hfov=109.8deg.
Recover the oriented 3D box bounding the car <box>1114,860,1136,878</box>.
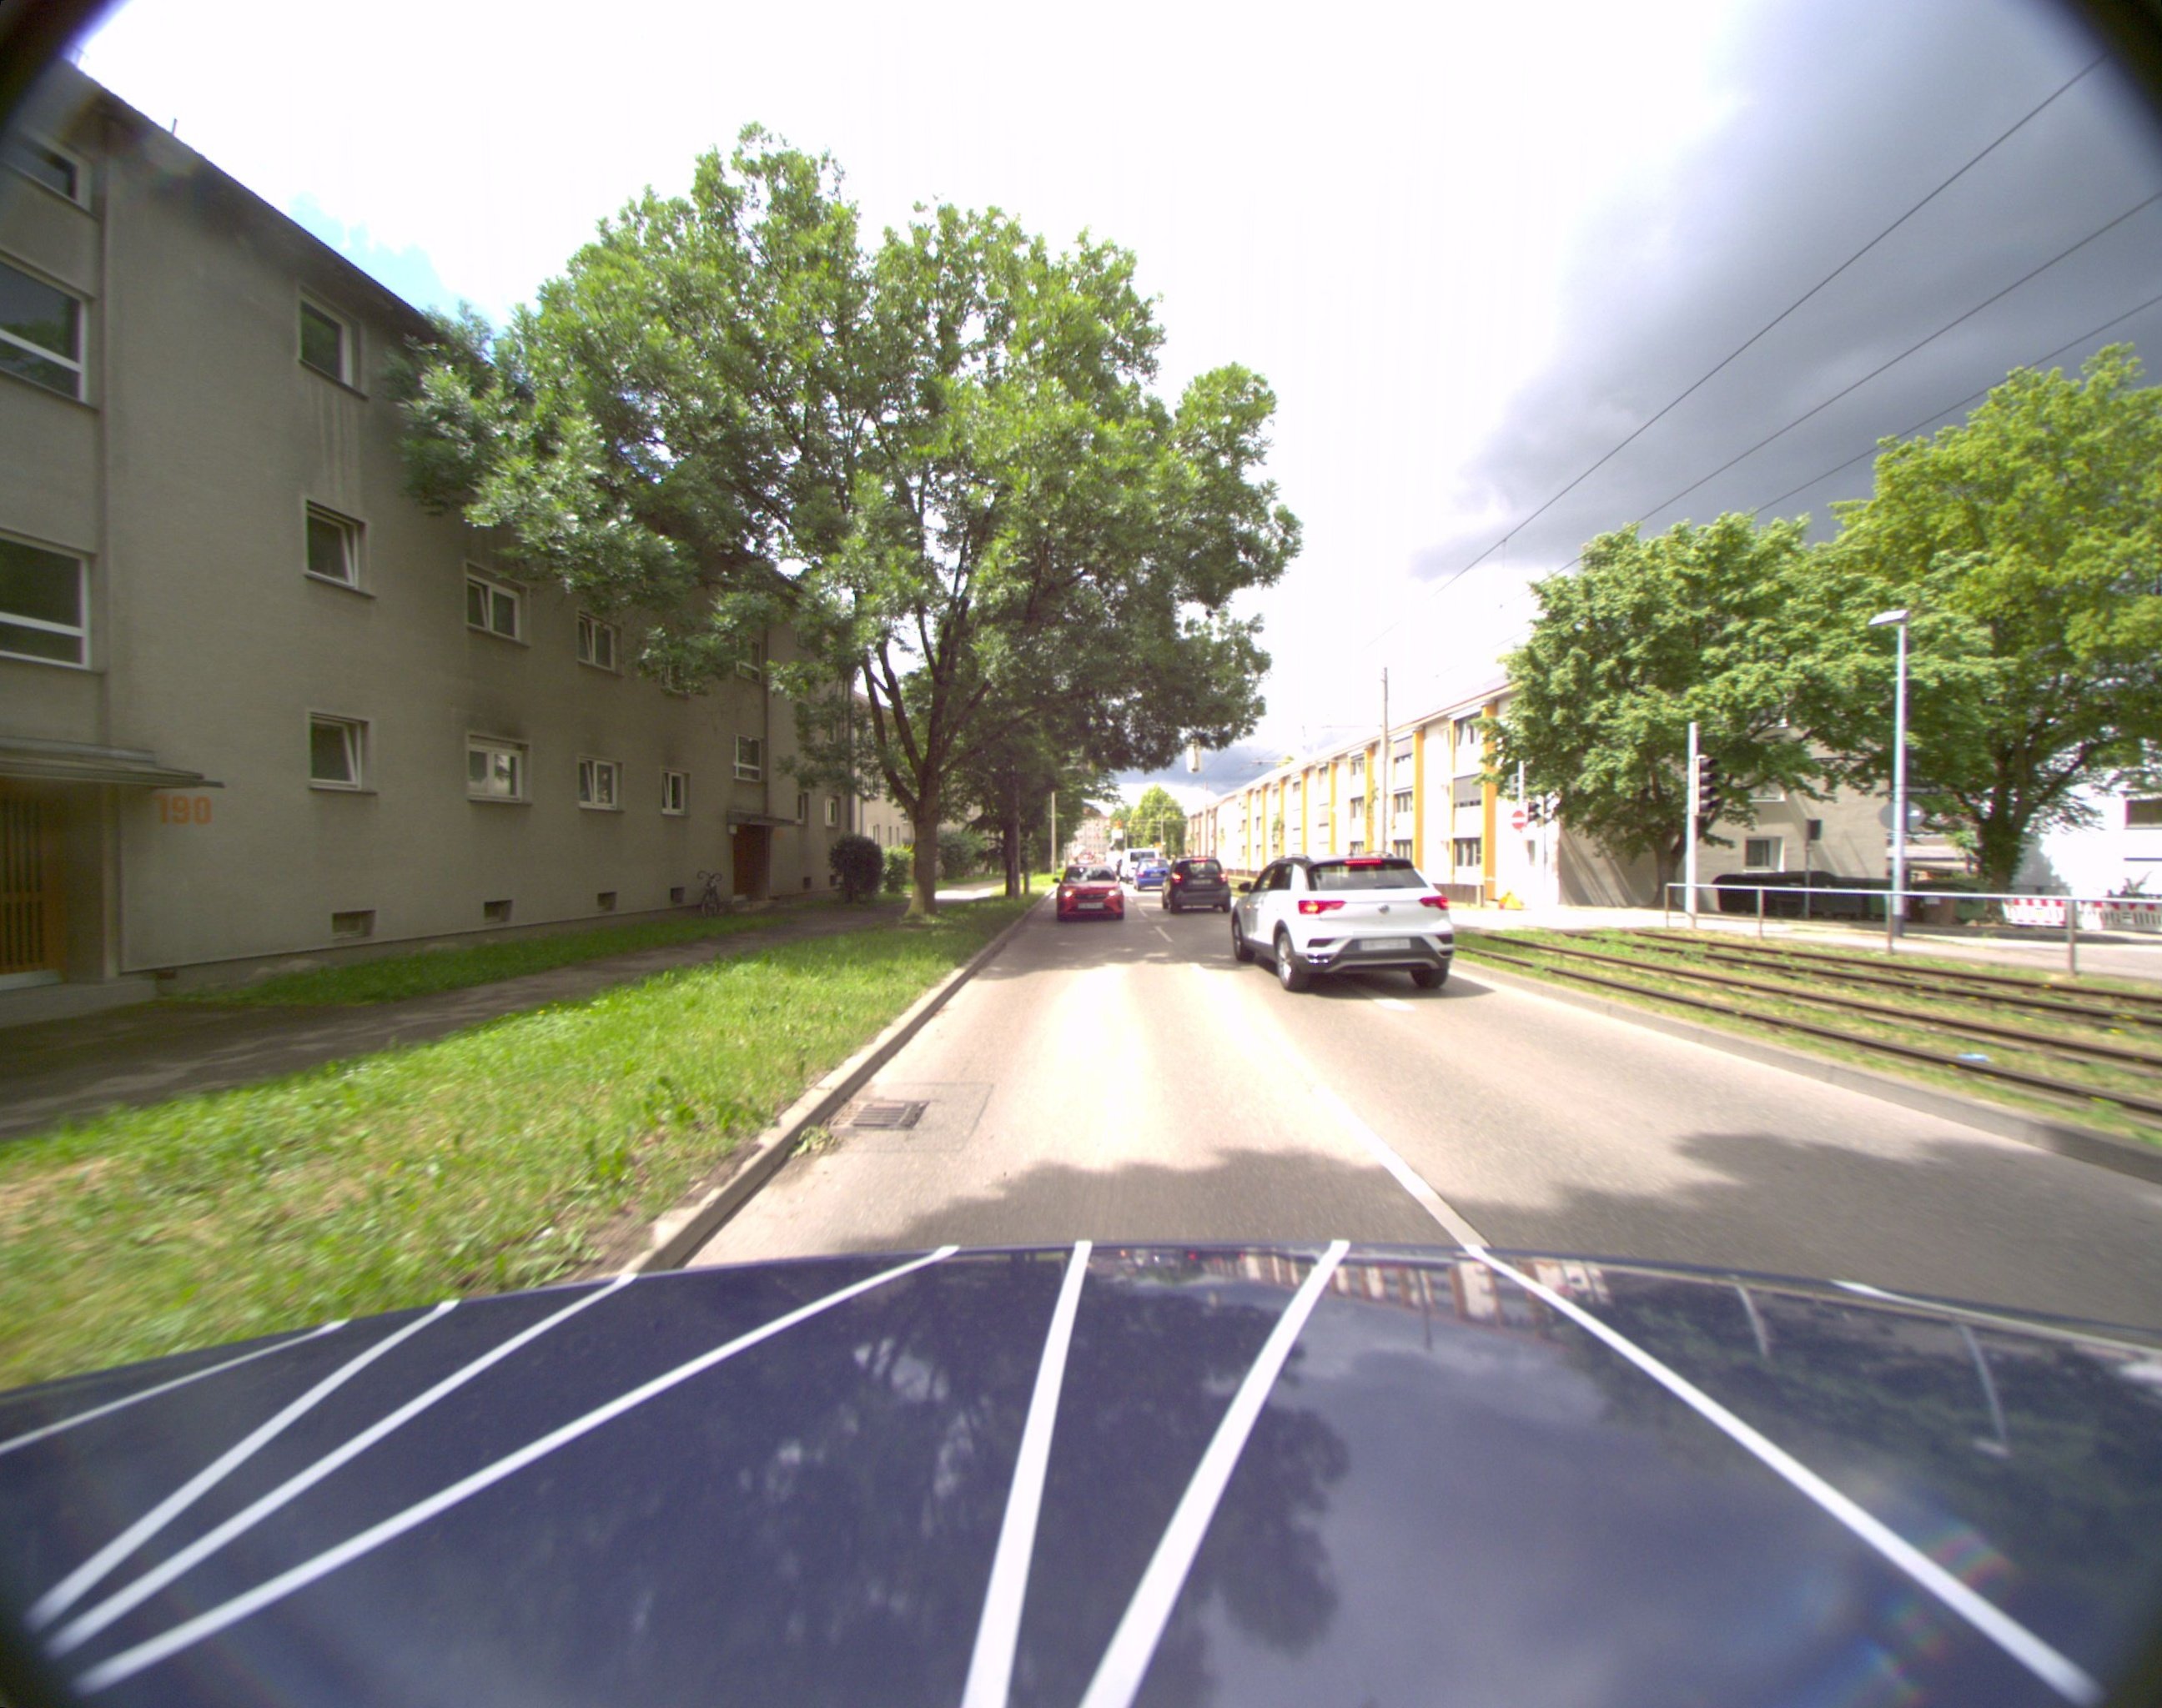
[{"bbox_3d":[3.852,1.280,66.374,1.666,1.512,3.679,-2,0,0],"label":"car"}]

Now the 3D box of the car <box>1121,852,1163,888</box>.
[{"bbox_3d":[3.503,0.912,44.716,1.999,1.984,4.786,-2,0,-1],"label":"car"}]

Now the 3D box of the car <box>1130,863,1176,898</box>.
[{"bbox_3d":[3.289,1.195,35.204,1.586,1.477,3.806,-2,0,-2],"label":"car"}]

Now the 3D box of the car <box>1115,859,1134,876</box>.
[{"bbox_3d":[4.279,1.314,75.839,1.666,1.512,3.786,-2,0,0],"label":"car"}]

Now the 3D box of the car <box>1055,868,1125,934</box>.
[{"bbox_3d":[0.243,1.180,20.467,1.666,1.512,3.786,-2,0,0],"label":"car"}]

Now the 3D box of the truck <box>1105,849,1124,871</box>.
[{"bbox_3d":[4.413,0.733,101.328,2.096,2.723,5.096,-2,1,-2],"label":"truck"}]

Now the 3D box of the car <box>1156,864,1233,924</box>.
[{"bbox_3d":[3.171,1.074,21.762,1.641,1.524,3.275,-2,0,-1],"label":"car"}]

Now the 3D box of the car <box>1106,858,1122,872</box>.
[{"bbox_3d":[3.909,1.305,89.686,1.666,1.512,3.862,-2,0,0],"label":"car"}]

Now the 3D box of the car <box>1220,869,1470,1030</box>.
[{"bbox_3d":[3.014,0.994,9.632,1.721,1.535,4.000,-2,-1,0],"label":"car"}]

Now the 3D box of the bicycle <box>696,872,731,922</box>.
[{"bbox_3d":[-8.621,0.977,17.777,0.437,1.074,1.750,-3,1,-34],"label":"bicycle"}]
